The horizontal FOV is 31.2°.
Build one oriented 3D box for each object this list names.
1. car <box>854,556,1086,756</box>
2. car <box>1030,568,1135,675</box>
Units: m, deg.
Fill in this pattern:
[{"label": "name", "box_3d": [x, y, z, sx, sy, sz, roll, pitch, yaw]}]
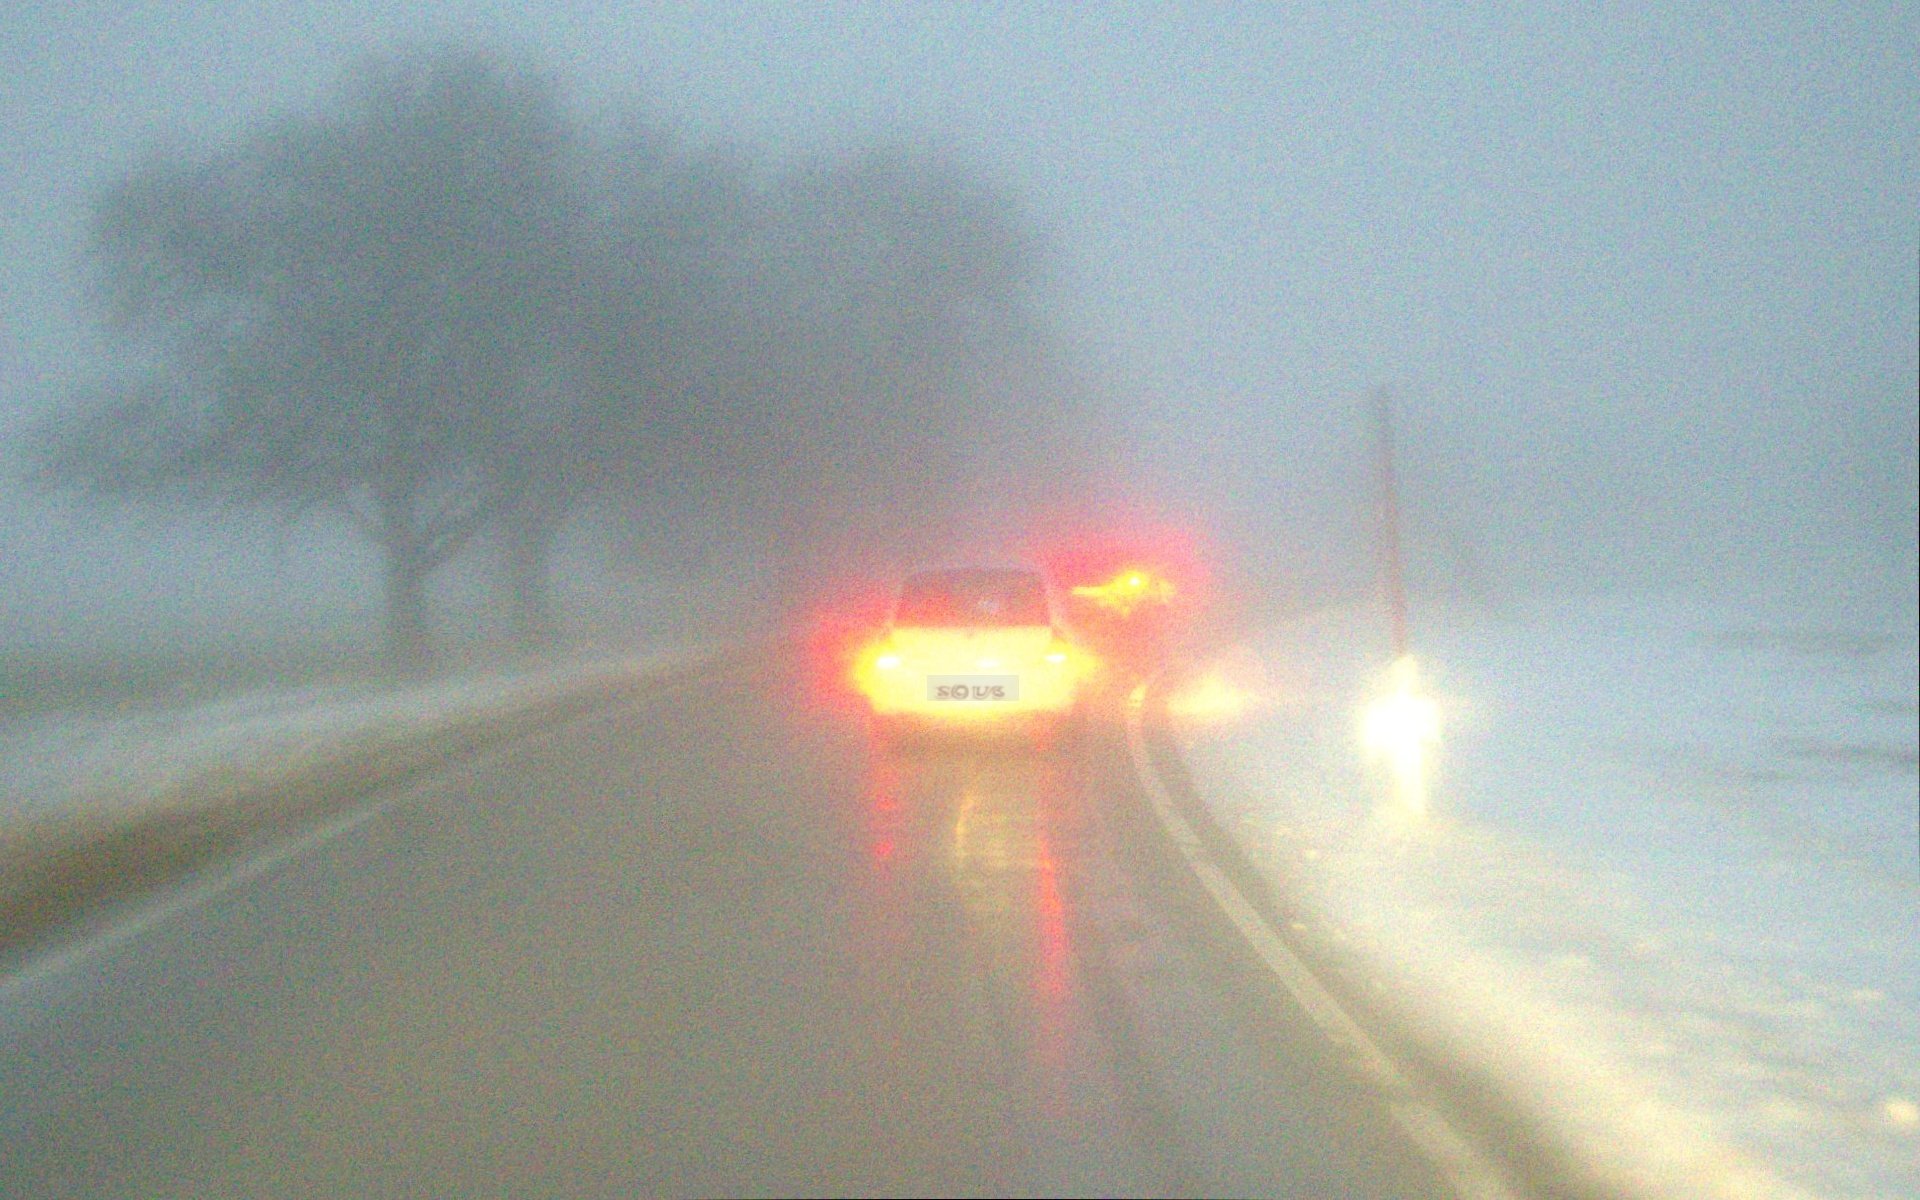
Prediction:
[{"label": "car", "box_3d": [0.130, 0.389, 27.384, 1.707, 1.458, 4.000, 0, 1, 2]}, {"label": "car", "box_3d": [1.802, 0.294, 50.697, 1.479, 1.503, 3.053, -1, 1, 2]}]
